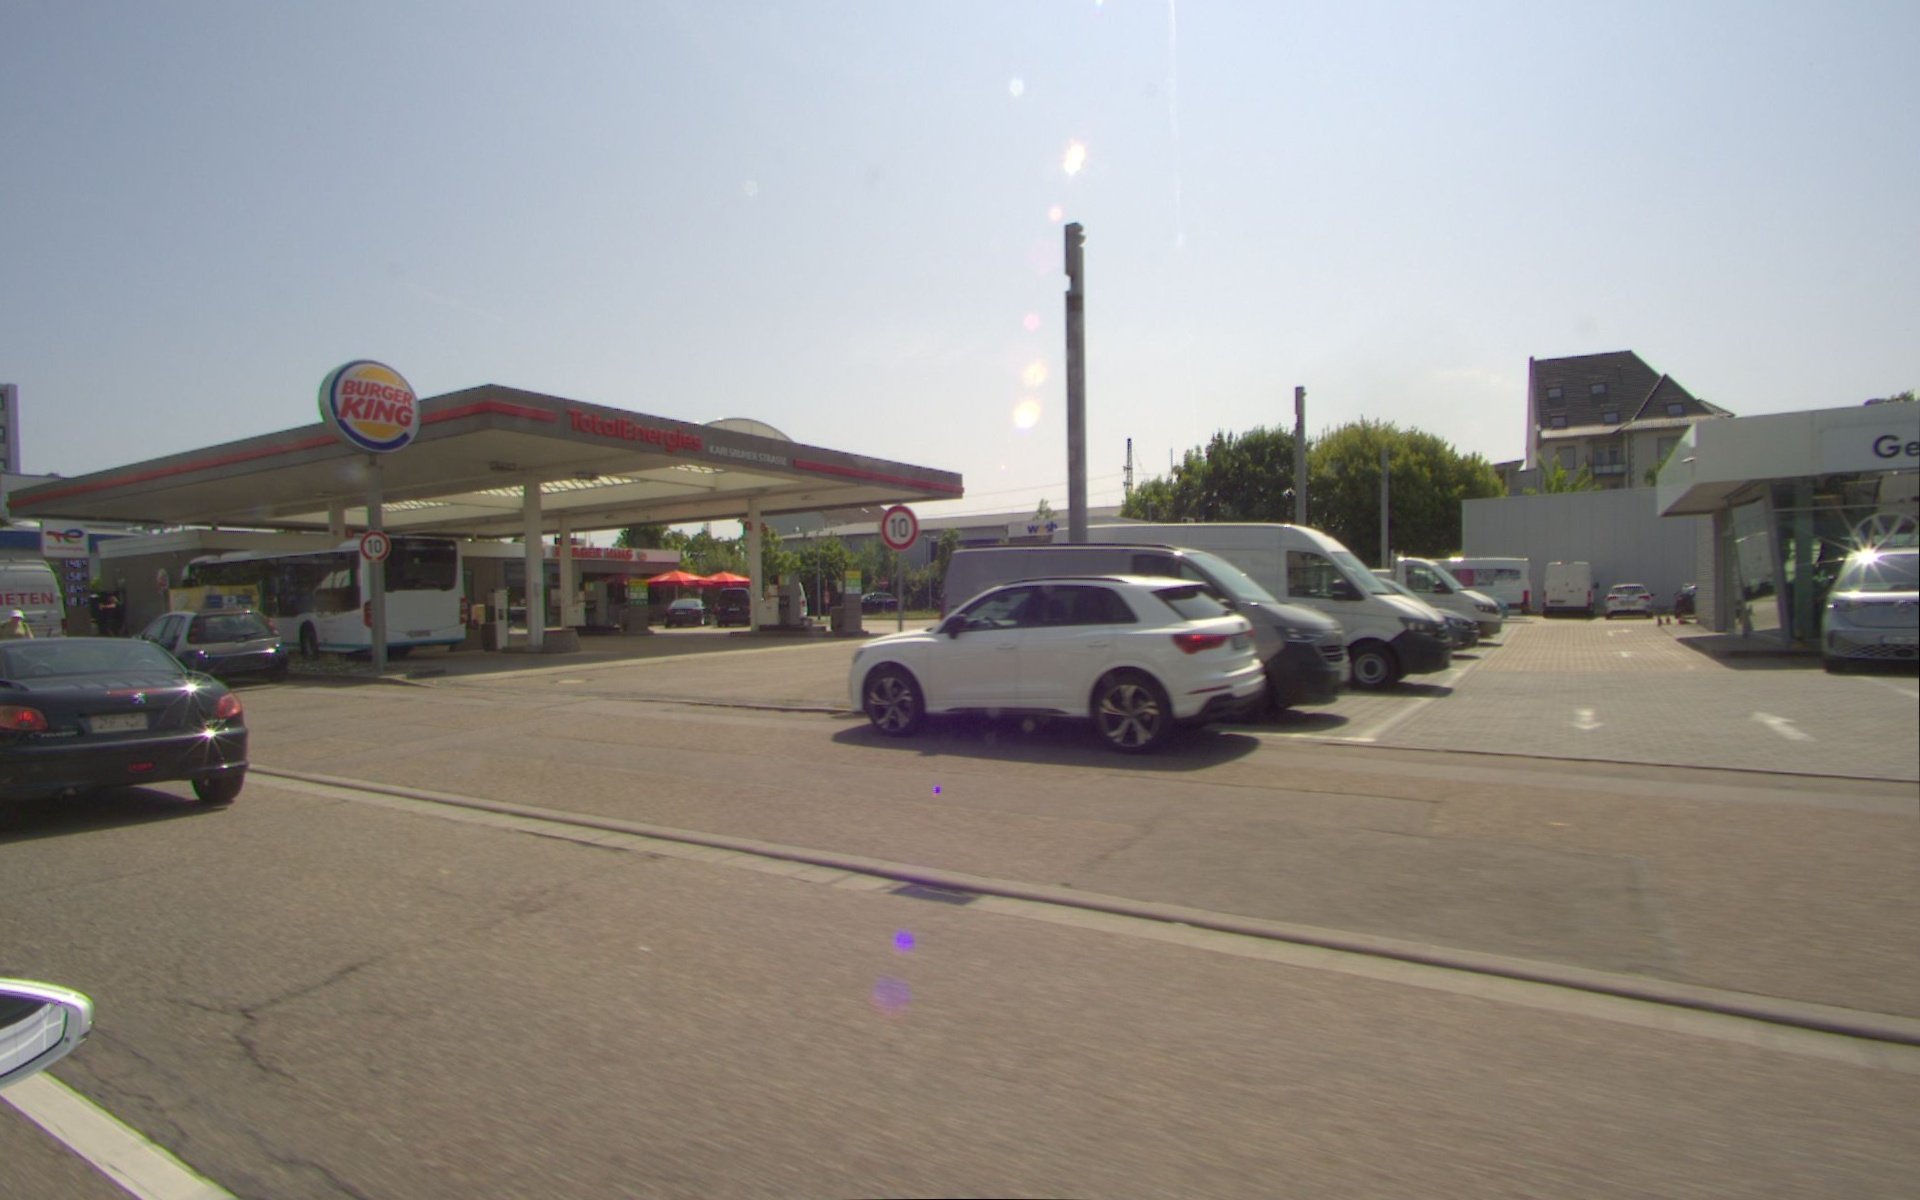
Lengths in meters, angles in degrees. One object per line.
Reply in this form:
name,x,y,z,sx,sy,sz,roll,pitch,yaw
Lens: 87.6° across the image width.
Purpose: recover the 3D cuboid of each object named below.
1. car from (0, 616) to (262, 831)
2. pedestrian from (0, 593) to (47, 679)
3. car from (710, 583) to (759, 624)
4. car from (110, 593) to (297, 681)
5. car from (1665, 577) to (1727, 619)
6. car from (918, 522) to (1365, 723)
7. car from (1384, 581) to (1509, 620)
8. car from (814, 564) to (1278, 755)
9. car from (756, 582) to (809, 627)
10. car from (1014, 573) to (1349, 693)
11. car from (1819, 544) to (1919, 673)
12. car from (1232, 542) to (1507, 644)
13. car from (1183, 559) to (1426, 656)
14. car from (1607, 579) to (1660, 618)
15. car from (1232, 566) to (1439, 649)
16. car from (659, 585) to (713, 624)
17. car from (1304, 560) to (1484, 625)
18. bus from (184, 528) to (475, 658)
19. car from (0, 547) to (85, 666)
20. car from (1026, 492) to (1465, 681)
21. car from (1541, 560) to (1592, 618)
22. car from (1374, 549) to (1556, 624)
car,-7.598,0.863,8.380,3.608,1.443,1.597,-1,-1,32
pedestrian,-20.650,0.768,21.813,0.693,1.774,0.812,0,6,32
car,-10.972,0.215,49.017,1.825,1.766,4.001,-2,-2,-6
car,-14.819,0.687,19.584,3.765,1.540,1.653,-1,1,32
car,30.863,-0.041,42.087,1.762,1.594,3.979,-3,-2,33
car,2.141,0.298,12.399,5.085,2.049,1.991,-1,-1,31
car,19.291,0.031,39.765,4.314,1.479,1.740,-1,1,32
car,0.783,0.502,10.377,4.546,1.617,1.663,0,1,32
car,-8.359,0.254,47.537,1.896,1.909,4.002,-2,-2,-2
car,3.188,0.470,14.752,4.534,1.533,1.741,-1,-1,32
car,15.242,0.088,16.017,1.982,1.848,4.335,0,1,45
car,11.539,-0.161,28.493,6.971,2.590,2.251,-1,1,32
car,7.377,0.092,21.575,4.725,1.891,1.731,2,2,27
car,29.632,-0.031,44.126,1.767,1.581,3.817,-3,-2,33
car,8.783,0.206,23.543,4.314,1.809,1.741,-1,-1,32
car,-13.855,0.280,50.817,1.961,1.765,4.001,-2,-2,-6
car,14.309,-0.187,33.130,5.281,2.020,1.740,-1,-1,32
bus,-18.542,-0.190,28.885,12.119,3.120,2.796,0,0,36
car,-26.007,0.188,26.583,7.204,2.878,2.128,-1,1,32
car,4.707,-0.172,17.189,6.917,2.711,2.251,-1,1,32
car,28.612,-0.451,47.164,1.872,2.503,3.979,-3,-2,33
car,21.062,-0.482,41.924,6.566,2.728,1.990,-3,-2,32
